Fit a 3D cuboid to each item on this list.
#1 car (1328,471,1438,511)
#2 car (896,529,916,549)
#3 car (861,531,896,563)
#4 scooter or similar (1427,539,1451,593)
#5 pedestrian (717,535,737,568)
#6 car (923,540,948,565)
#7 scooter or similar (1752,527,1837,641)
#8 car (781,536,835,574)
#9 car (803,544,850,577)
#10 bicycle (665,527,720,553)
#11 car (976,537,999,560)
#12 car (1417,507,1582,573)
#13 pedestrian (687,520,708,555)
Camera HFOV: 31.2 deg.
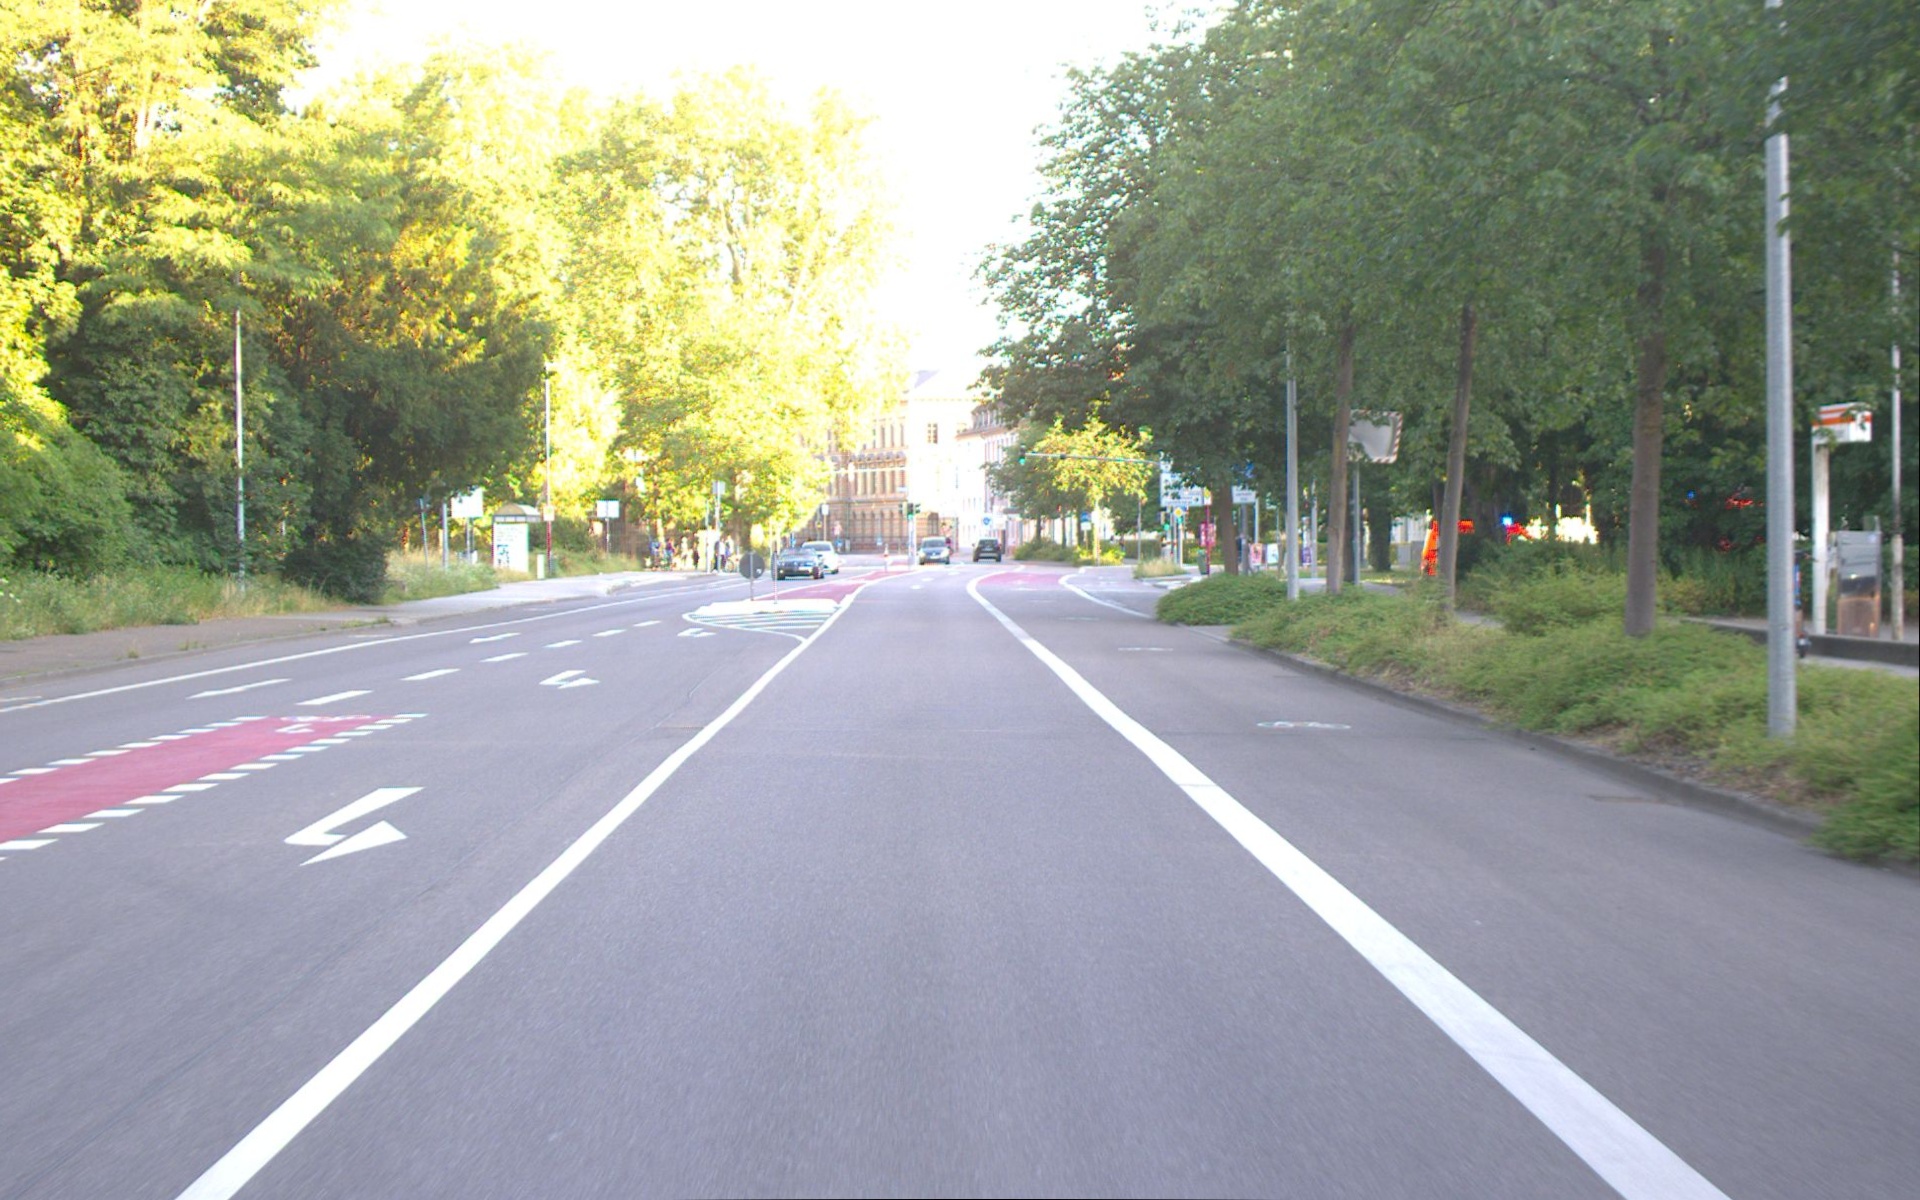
[{"bbox_3d":[17.447,-4.467,141.676,4.460,1.585,1.715,0,1,7],"label":"car"},{"bbox_3d":[-4.074,-4.599,260.340,1.493,1.481,3.491,0,1,0],"label":"car"},{"bbox_3d":[-3.778,-2.475,159.858,1.493,1.481,3.491,0,1,0],"label":"car"},{"bbox_3d":[9.261,-0.663,66.451,0.310,1.038,0.980,-1,1,0],"label":"scooter or similar"},{"bbox_3d":[-11.281,-2.350,166.352,0.791,1.575,0.745,1,1,9],"label":"pedestrian"},{"bbox_3d":[-1.450,-2.846,205.296,1.493,1.481,3.491,0,1,0],"label":"car"},{"bbox_3d":[9.538,-0.190,39.329,0.597,1.278,1.469,-1,1,0],"label":"scooter or similar"},{"bbox_3d":[-5.925,-1.759,134.323,1.798,1.448,4.127,0,1,2],"label":"car"},{"bbox_3d":[-5.920,-1.765,152.766,1.798,1.448,4.127,0,1,2],"label":"car"},{"bbox_3d":[-12.385,-2.784,159.168,2.463,1.191,0.757,0,1,9],"label":"bicycle"},{"bbox_3d":[1.808,-3.395,225.856,1.493,1.481,3.491,0,1,0],"label":"car"},{"bbox_3d":[16.437,-1.827,104.968,4.912,1.983,1.921,0,1,7],"label":"car"},{"bbox_3d":[-12.141,-2.895,159.109,0.791,1.575,0.745,1,1,9],"label":"pedestrian"}]
